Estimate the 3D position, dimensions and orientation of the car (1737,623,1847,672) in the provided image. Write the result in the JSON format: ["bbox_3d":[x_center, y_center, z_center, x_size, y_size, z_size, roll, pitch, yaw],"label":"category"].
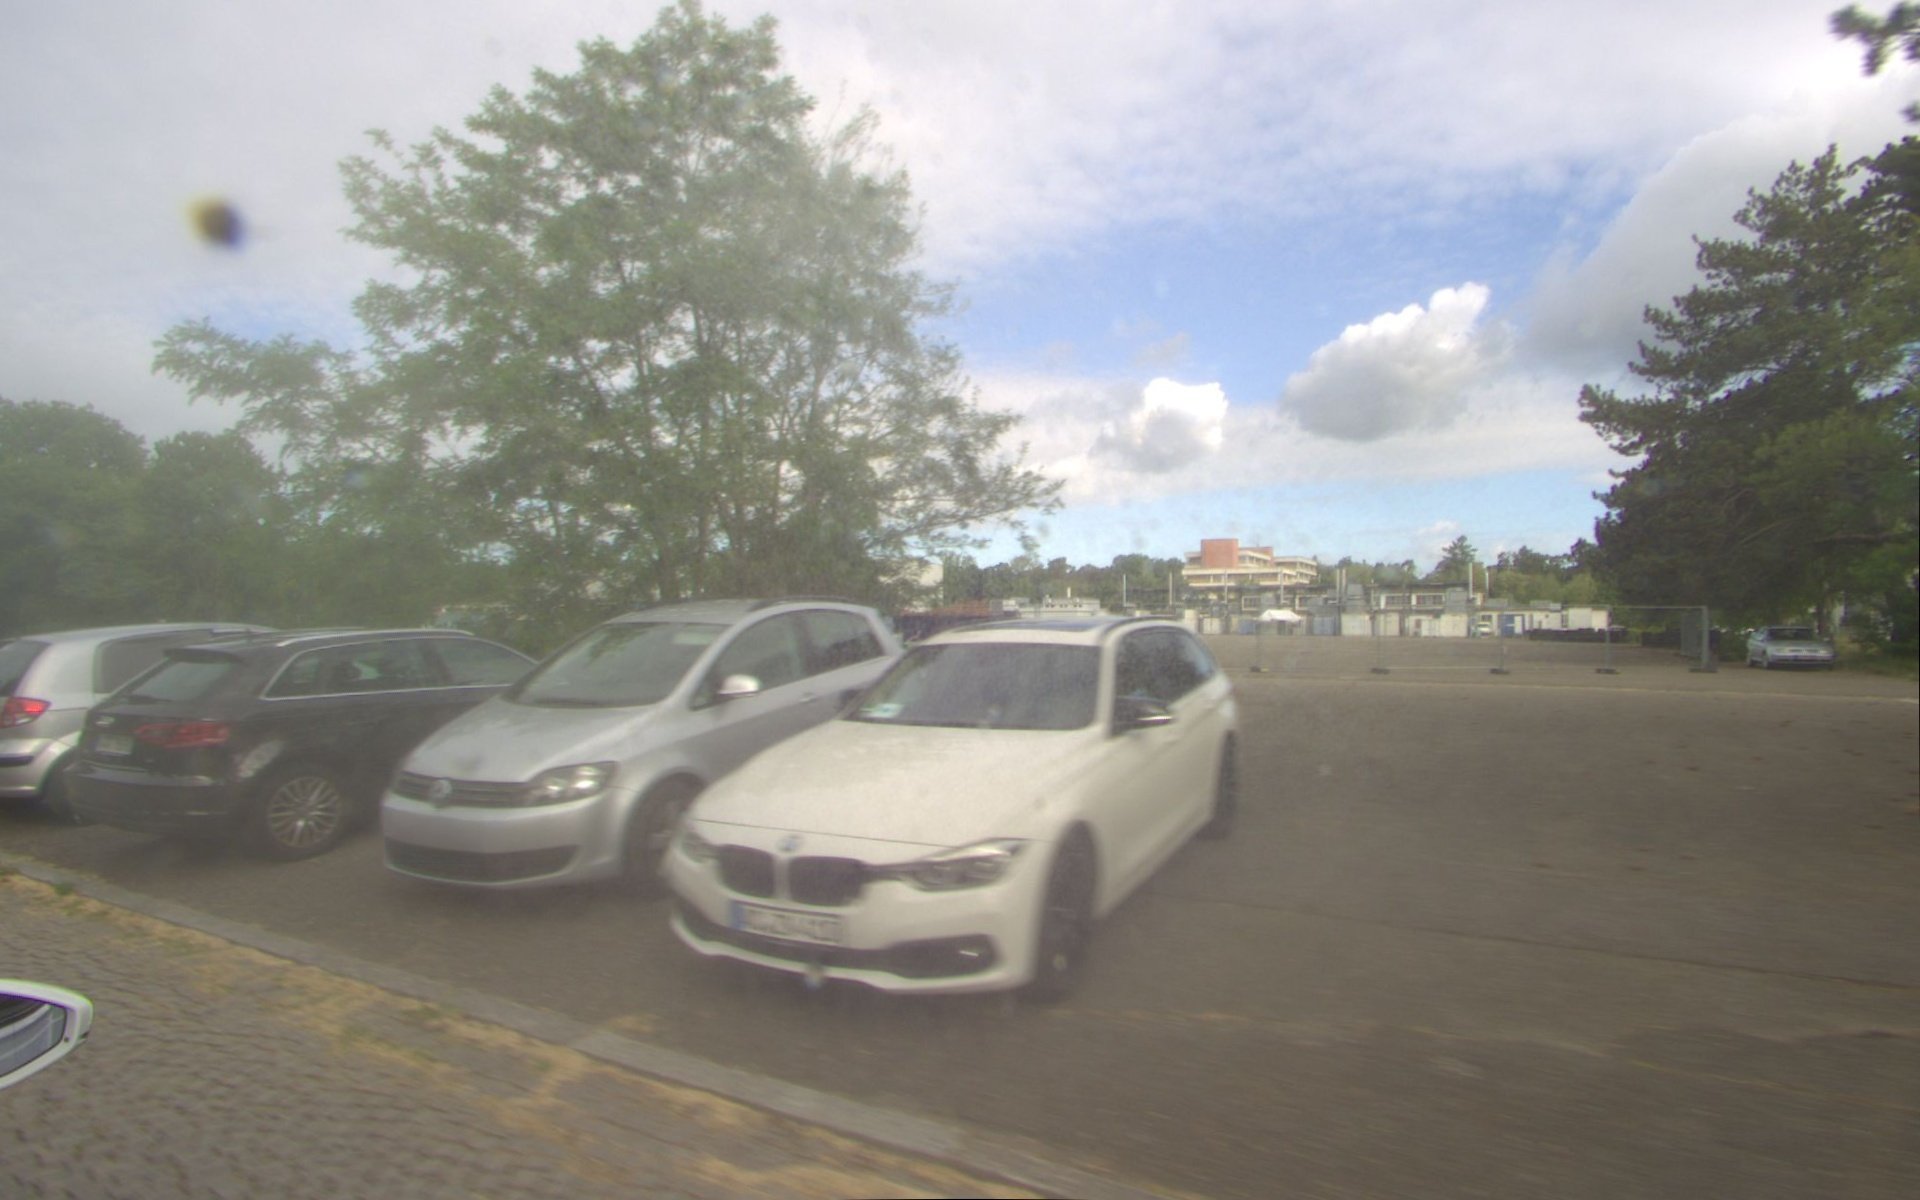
[{"bbox_3d":[27.291,1.528,32.993,1.942,1.502,3.986,0,-1,27],"label":"car"}]

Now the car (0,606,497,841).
[{"bbox_3d":[-6.662,0.891,9.252,1.776,1.535,4.068,0,2,28],"label":"car"}]

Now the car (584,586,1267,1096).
[{"bbox_3d":[0.340,0.766,5.663,1.876,1.587,4.487,0,1,28],"label":"car"}]

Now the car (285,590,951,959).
[{"bbox_3d":[-1.853,0.793,6.892,1.855,1.618,4.236,0,1,26],"label":"car"}]

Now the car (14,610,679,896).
[{"bbox_3d":[-4.370,0.894,7.885,1.856,1.473,4.068,0,1,28],"label":"car"}]

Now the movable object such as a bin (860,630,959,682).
[{"bbox_3d":[-1.013,1.148,21.024,0.840,1.001,2.681,0,-1,27],"label":"movable object such as a bin"}]
